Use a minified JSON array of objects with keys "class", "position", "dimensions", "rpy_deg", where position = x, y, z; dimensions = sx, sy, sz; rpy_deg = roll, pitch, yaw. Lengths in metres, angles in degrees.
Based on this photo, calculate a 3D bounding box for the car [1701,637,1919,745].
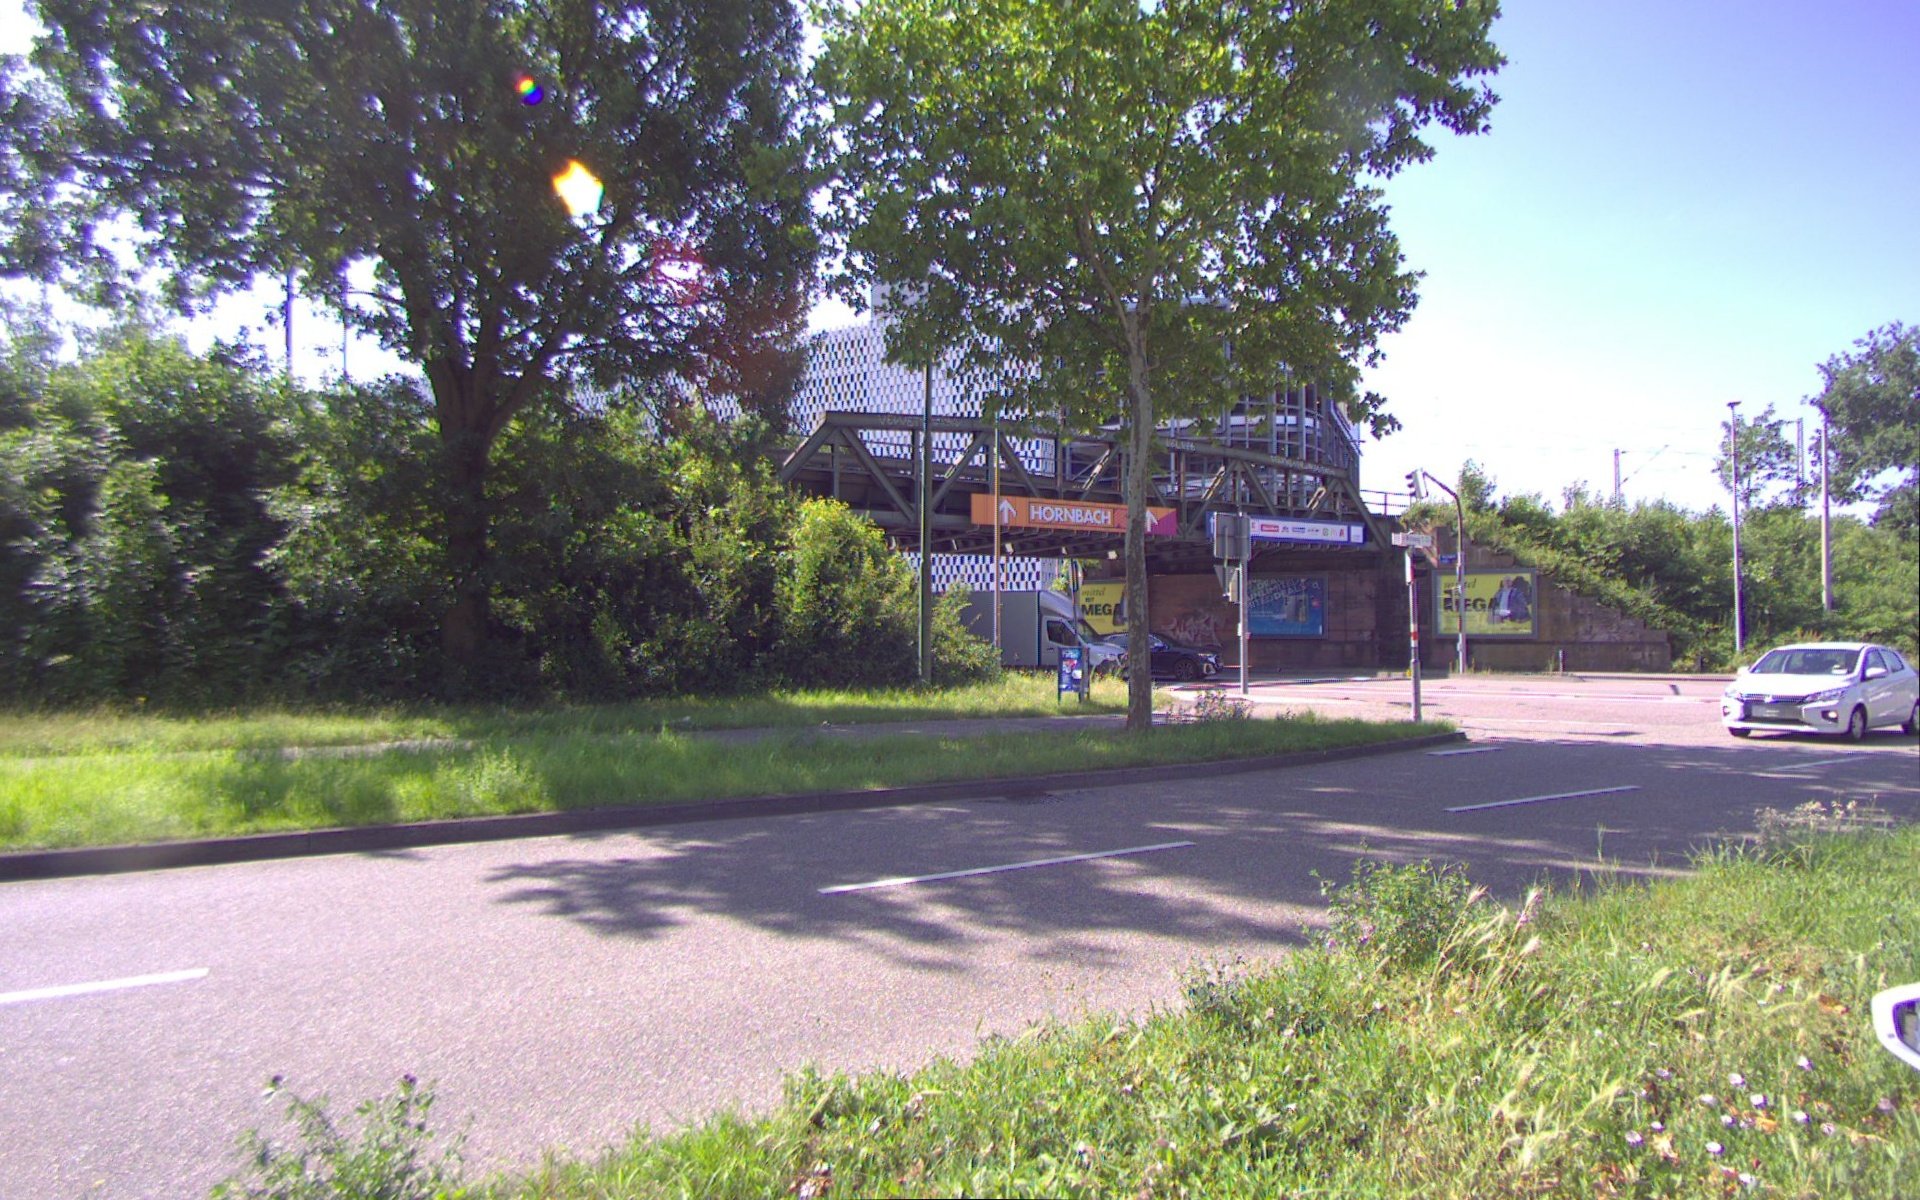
[{"class":"car","position":[13.958,1.377,16.310],"dimensions":[3.953,1.528,1.692],"rpy_deg":[1,-2,-30]}]

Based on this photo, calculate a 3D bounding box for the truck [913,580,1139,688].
[{"class":"truck","position":[2.020,1.115,31.722],"dimensions":[6.739,3.146,2.216],"rpy_deg":[-2,-2,27]}]

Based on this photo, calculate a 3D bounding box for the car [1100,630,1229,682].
[{"class":"car","position":[6.949,1.889,34.218],"dimensions":[3.926,1.668,1.902],"rpy_deg":[-2,-2,27]}]
